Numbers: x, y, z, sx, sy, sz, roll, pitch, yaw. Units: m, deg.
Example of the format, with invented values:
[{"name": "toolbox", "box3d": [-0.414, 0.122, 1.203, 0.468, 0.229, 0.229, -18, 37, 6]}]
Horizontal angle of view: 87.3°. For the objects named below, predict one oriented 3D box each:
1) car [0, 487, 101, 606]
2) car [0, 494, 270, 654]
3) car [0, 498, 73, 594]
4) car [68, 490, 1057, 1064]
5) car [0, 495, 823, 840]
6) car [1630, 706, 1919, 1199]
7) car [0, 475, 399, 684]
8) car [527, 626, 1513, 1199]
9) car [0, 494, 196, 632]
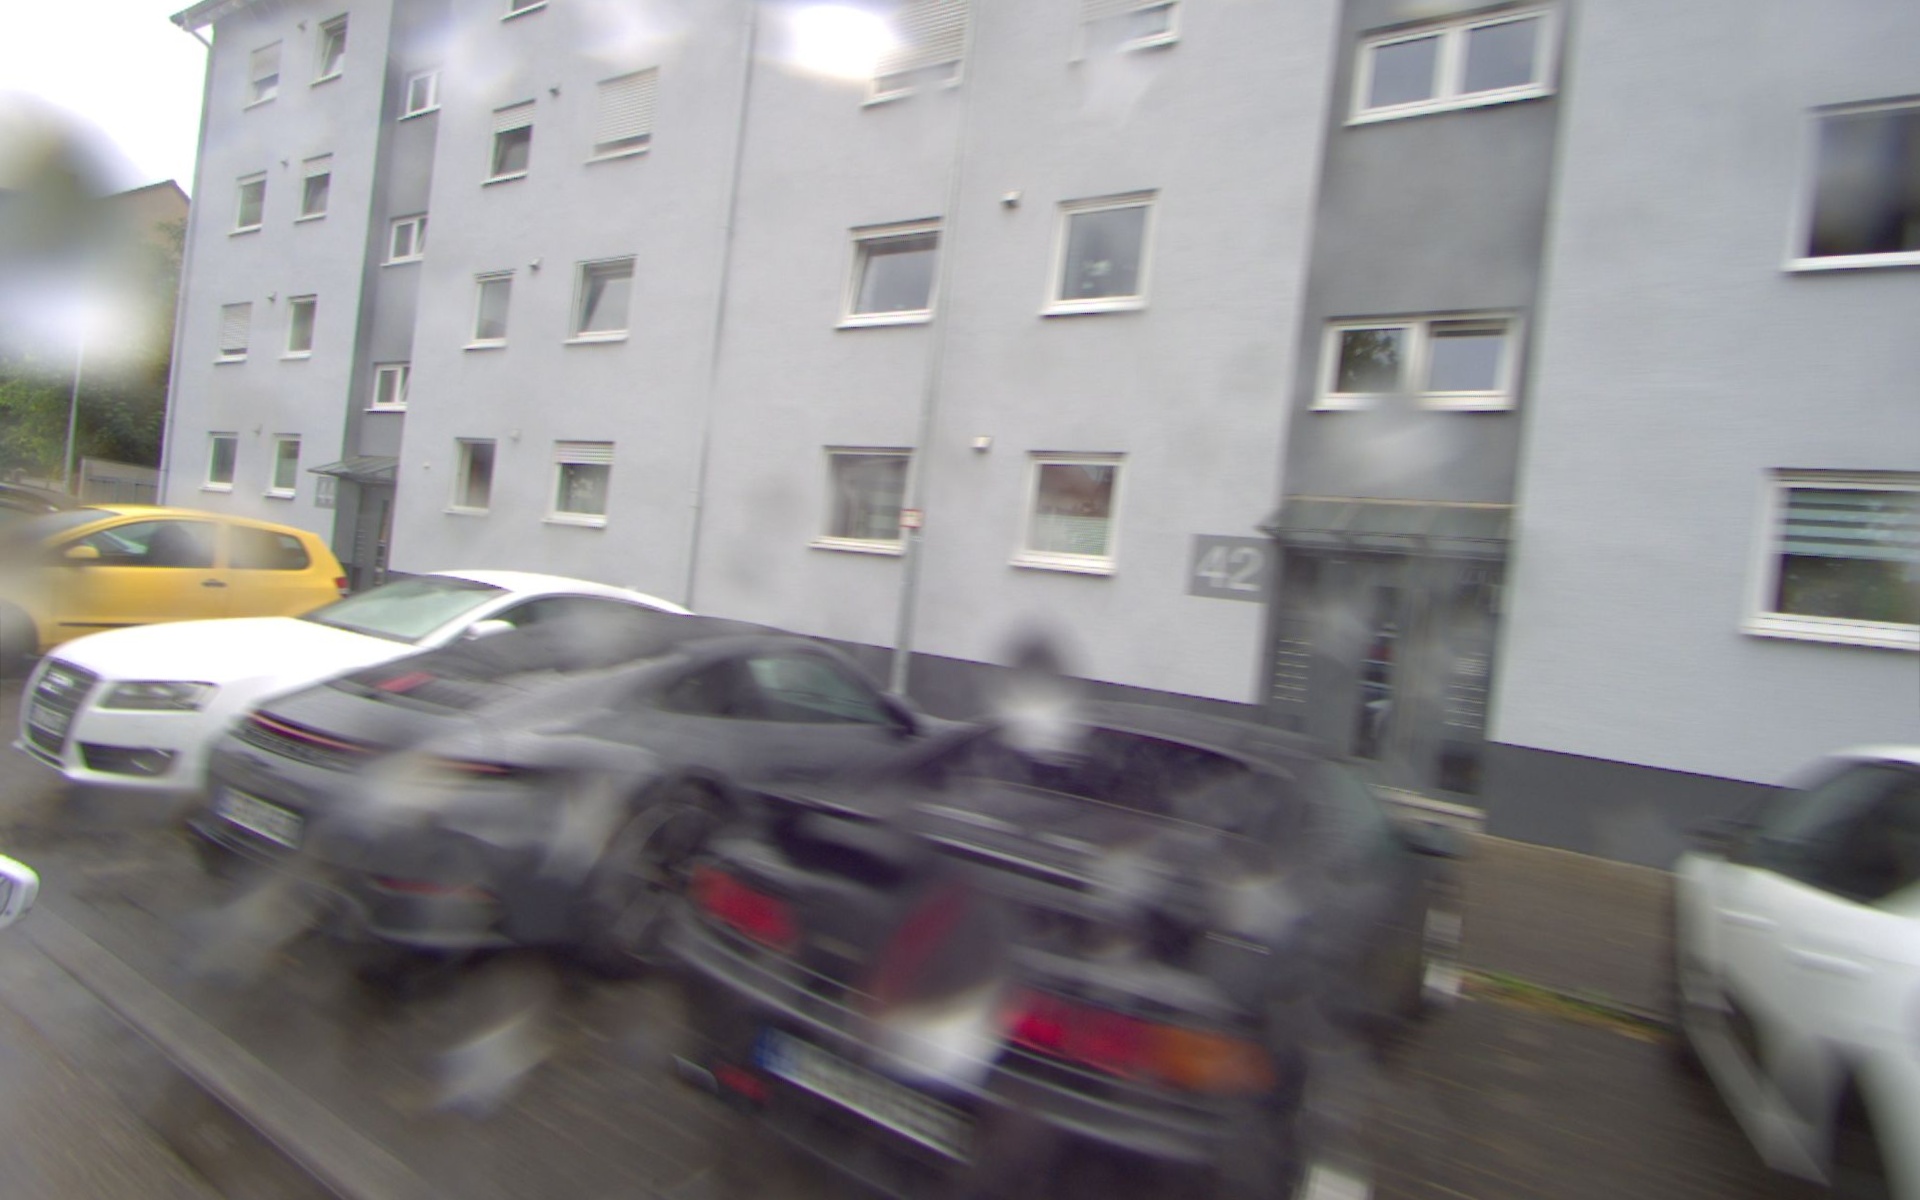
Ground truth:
[{"name": "car", "box3d": [-14.788, -0.987, 13.577, 2.006, 1.570, 4.350, 6, -2, 31]}, {"name": "car", "box3d": [-10.001, -0.358, 10.643, 1.752, 1.458, 3.995, 7, -2, 31]}, {"name": "car", "box3d": [-16.579, -1.092, 15.441, 1.815, 1.428, 3.995, 7, -2, 31]}, {"name": "car", "box3d": [-1.375, 0.625, 5.046, 1.979, 1.503, 4.152, 6, -2, 31]}, {"name": "car", "box3d": [-3.274, 0.464, 6.867, 1.968, 1.453, 4.635, 6, -2, 33]}, {"name": "car", "box3d": [3.246, 1.188, 2.849, 1.805, 1.471, 3.862, 7, -1, 30]}, {"name": "car", "box3d": [-7.784, -0.173, 9.359, 1.821, 1.570, 3.996, 7, -2, 30]}, {"name": "car", "box3d": [0.750, 0.943, 3.768, 1.924, 1.222, 3.858, 7, -1, 33]}, {"name": "car", "box3d": [-12.095, -0.604, 12.108, 1.968, 1.475, 4.103, 7, -1, 33]}]
